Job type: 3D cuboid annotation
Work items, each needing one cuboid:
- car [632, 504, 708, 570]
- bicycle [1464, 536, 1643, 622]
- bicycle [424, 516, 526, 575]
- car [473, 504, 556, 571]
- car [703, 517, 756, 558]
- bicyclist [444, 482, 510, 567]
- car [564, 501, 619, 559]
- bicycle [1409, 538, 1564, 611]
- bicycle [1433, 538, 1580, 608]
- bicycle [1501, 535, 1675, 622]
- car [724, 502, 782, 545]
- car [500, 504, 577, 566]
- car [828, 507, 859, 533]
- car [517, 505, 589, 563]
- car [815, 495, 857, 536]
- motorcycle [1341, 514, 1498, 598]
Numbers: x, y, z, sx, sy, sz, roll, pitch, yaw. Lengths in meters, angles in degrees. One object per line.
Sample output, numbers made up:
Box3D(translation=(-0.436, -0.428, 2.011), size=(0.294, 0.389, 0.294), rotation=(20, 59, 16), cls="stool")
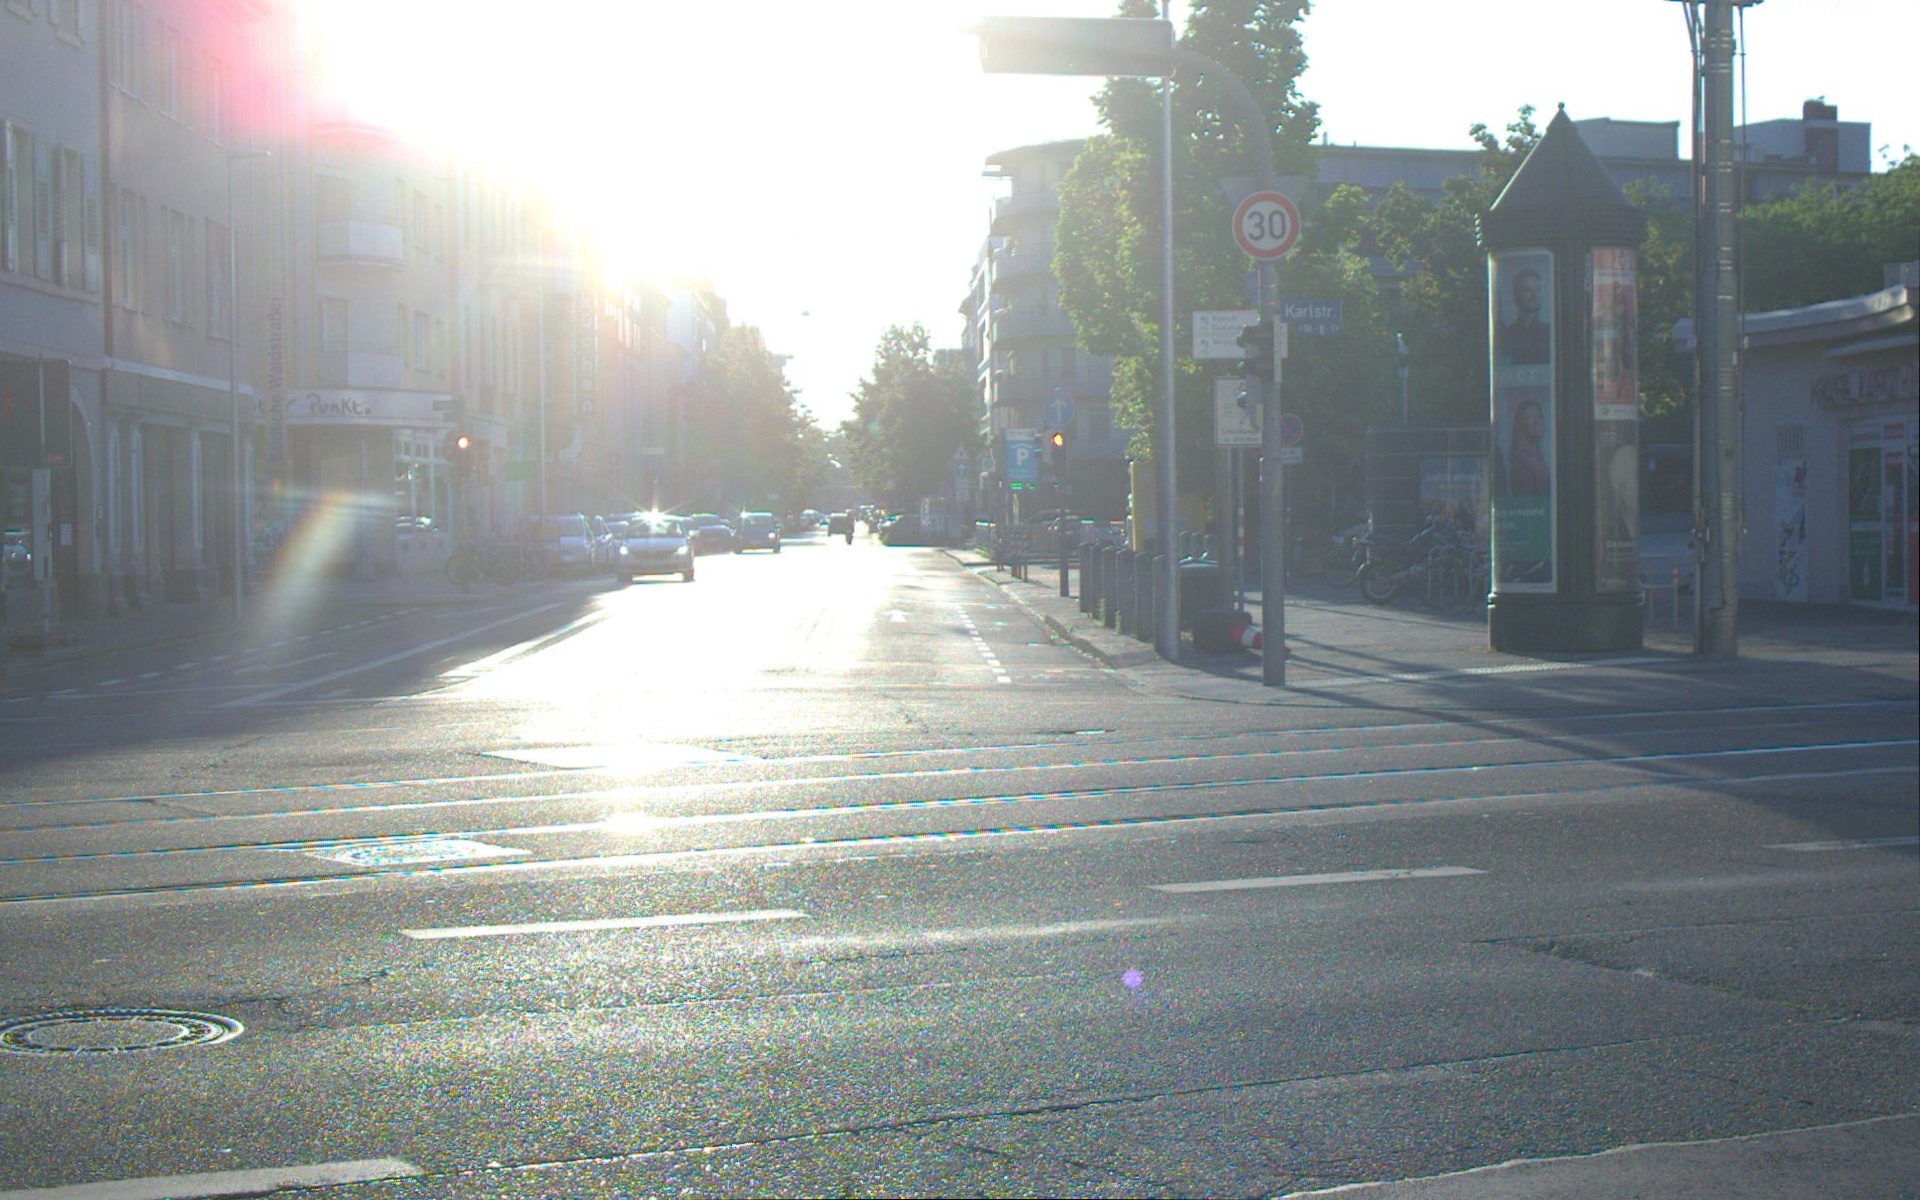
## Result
Box3D(translation=(-6.582, -1.430, 78.251), size=(1.545, 1.462, 3.352), rotation=(0, 1, -2), cls="car")
Box3D(translation=(7.329, -0.258, 42.490), size=(2.147, 1.040, 0.560), rotation=(0, 0, 7), cls="bicycle")
Box3D(translation=(-10.276, -1.151, 72.815), size=(2.119, 1.200, 0.500), rotation=(2, 1, 18), cls="bicycle")
Box3D(translation=(-10.206, -1.453, 78.962), size=(1.545, 1.478, 3.352), rotation=(-1, 2, -2), cls="car")
Box3D(translation=(-9.817, -2.647, 146.647), size=(1.993, 1.674, 4.000), rotation=(1, 1, 0), cls="car")
Box3D(translation=(-10.232, -1.598, 72.809), size=(1.130, 1.784, 0.764), rotation=(1, 1, 19), cls="bicyclist")
Box3D(translation=(-10.099, -1.921, 94.289), size=(1.307, 1.577, 2.889), rotation=(0, 1, -2), cls="car")
Box3D(translation=(7.227, -0.350, 47.259), size=(2.078, 0.979, 0.560), rotation=(0, 0, 7), cls="bicycle")
Box3D(translation=(7.745, -0.385, 48.816), size=(2.038, 0.973, 0.560), rotation=(0, 0, 7), cls="bicycle")
Box3D(translation=(7.567, -0.261, 41.477), size=(2.020, 1.041, 0.560), rotation=(0, 0, 7), cls="bicycle")
Box3D(translation=(-8.257, -3.061, 137.509), size=(1.993, 1.678, 4.000), rotation=(-1, 2, 1), cls="car")
Box3D(translation=(-10.103, -1.554, 82.606), size=(1.545, 1.464, 3.352), rotation=(0, 1, -2), cls="car")
Box3D(translation=(-8.360, -5.773, 246.893), size=(1.993, 1.809, 4.000), rotation=(-1, 2, 1), cls="car")
Box3D(translation=(-10.352, -1.674, 87.581), size=(1.545, 1.464, 3.352), rotation=(0, 1, -2), cls="car")
Box3D(translation=(-6.356, -4.323, 176.675), size=(1.993, 2.007, 4.000), rotation=(1, 1, -1), cls="car")
Box3D(translation=(6.726, -0.646, 50.381), size=(2.235, 1.197, 0.720), rotation=(0, 2, 4), cls="motorcycle")
